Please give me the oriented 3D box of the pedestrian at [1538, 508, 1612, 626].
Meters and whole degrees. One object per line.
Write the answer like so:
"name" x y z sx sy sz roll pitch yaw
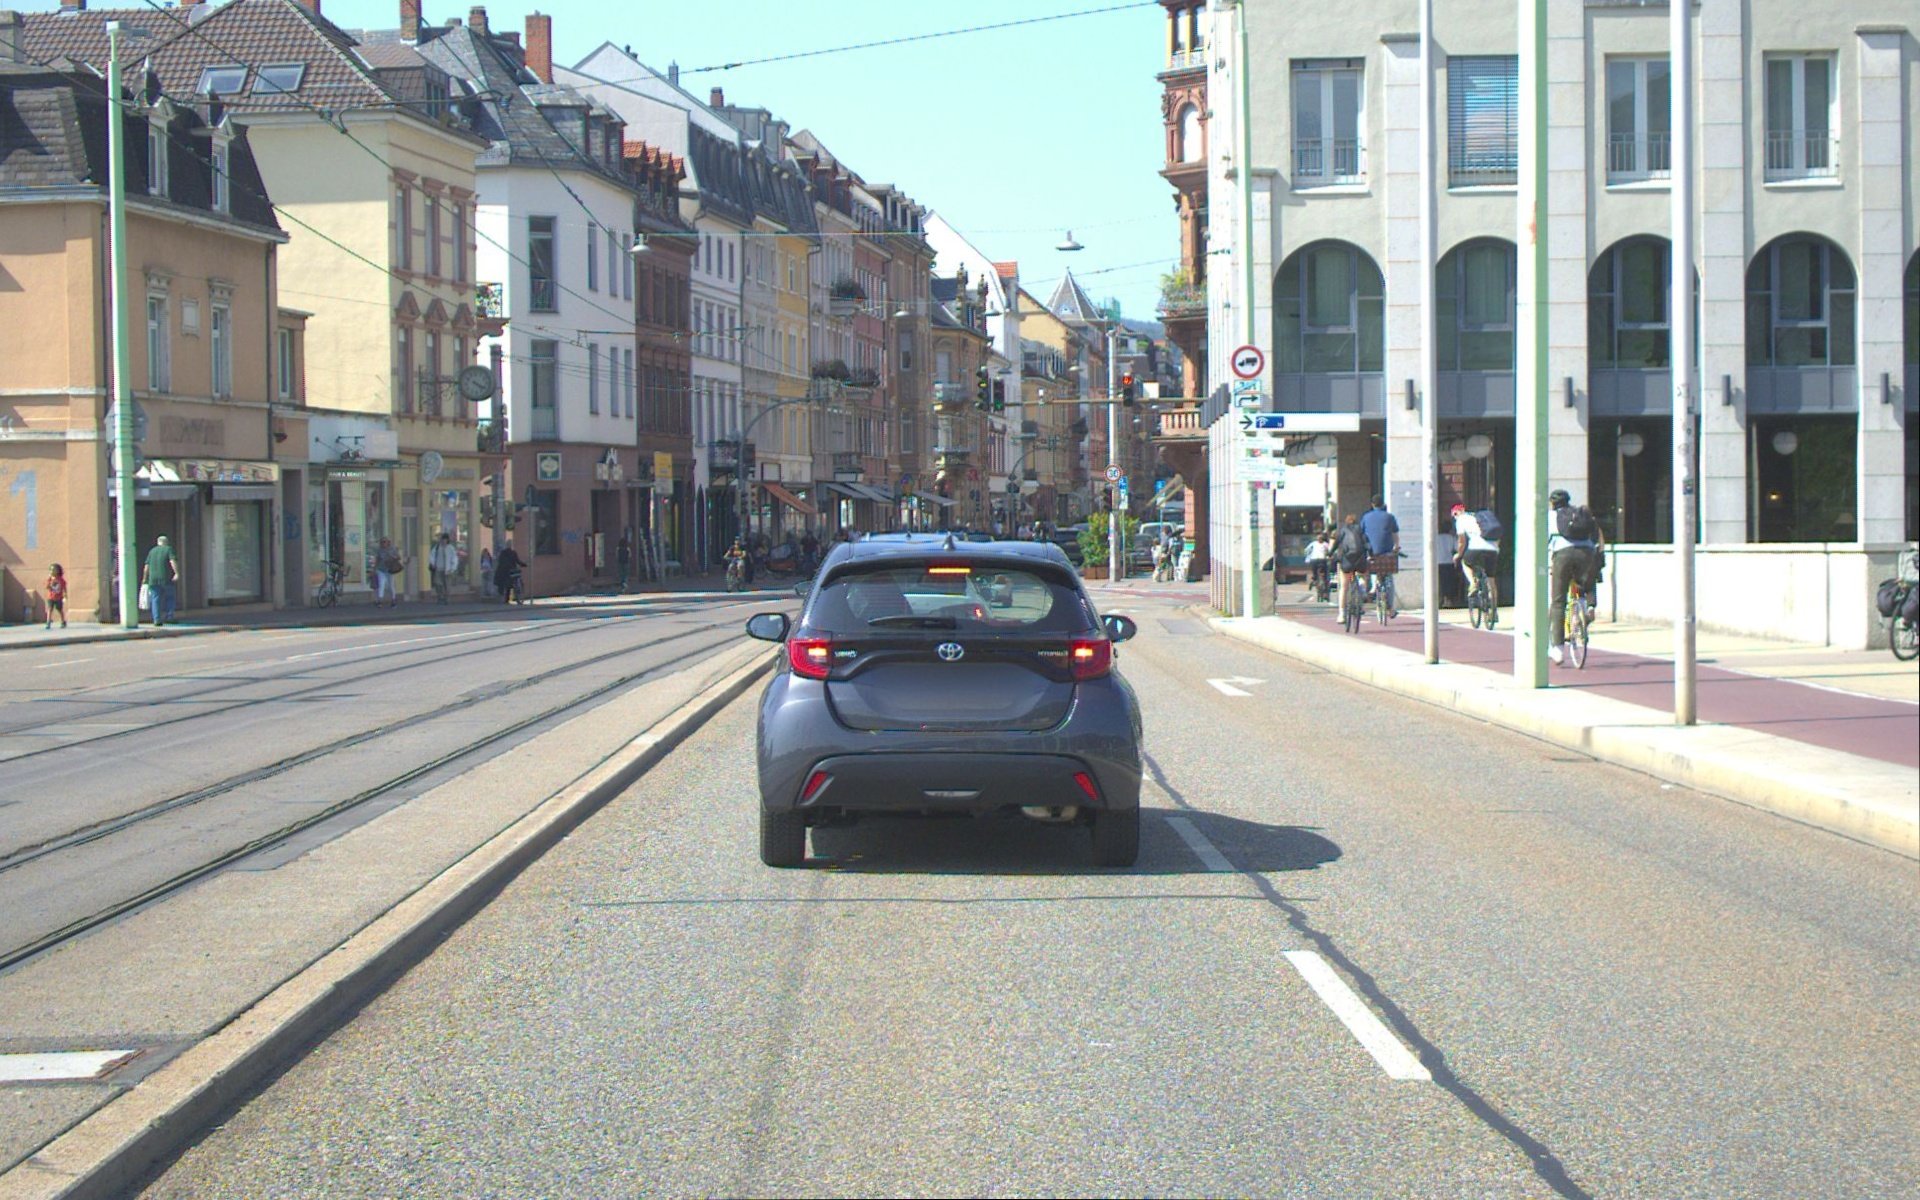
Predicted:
"pedestrian" 8.676 -0.470 48.539 0.739 1.609 1.016 4 1 -1

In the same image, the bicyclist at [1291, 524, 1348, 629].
"bicyclist" 8.931 -0.585 85.446 1.228 2.520 1.105 4 1 6

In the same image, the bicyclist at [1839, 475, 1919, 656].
"bicyclist" 9.155 -0.343 32.860 0.921 1.689 1.143 -2 1 -23

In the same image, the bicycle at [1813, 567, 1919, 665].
"bicycle" 9.159 0.137 32.867 1.821 0.879 0.800 -2 1 -23

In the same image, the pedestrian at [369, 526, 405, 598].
"pedestrian" -13.303 -0.889 79.771 0.649 1.596 0.566 4 3 0

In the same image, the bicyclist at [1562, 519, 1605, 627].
"bicyclist" 8.022 -0.350 44.222 0.422 1.378 0.443 -2 1 0

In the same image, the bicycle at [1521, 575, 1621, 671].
"bicycle" 5.978 0.218 33.693 0.704 0.879 1.525 -1 1 0

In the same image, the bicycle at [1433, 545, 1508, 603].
"bicycle" 6.962 -0.349 46.879 0.416 0.763 0.961 -3 1 -39

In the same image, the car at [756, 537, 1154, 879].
"car" -0.043 0.439 16.863 1.720 1.468 3.658 1 1 -1

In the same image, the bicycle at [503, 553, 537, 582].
"bicycle" -11.691 -0.859 91.361 0.620 0.713 1.771 4 1 0

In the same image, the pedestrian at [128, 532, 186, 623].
"pedestrian" -15.011 -0.417 64.298 0.762 1.648 0.711 4 1 6

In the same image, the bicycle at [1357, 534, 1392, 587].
"bicycle" 6.071 -0.582 50.345 0.416 0.763 0.962 -2 1 3

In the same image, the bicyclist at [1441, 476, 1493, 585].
"bicyclist" 6.916 -0.953 46.893 0.484 1.461 0.443 -3 1 -39

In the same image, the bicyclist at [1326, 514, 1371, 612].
"bicyclist" 5.311 -0.507 47.032 0.538 1.312 0.672 -2 1 4

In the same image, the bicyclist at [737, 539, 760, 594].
"bicyclist" -6.411 -1.020 104.335 0.627 1.644 0.622 1 2 0

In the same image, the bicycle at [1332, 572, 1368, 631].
"bicycle" 5.341 0.018 47.059 0.416 0.763 1.205 -2 1 4

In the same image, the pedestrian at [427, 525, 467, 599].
"pedestrian" -12.610 -0.935 84.541 0.736 1.760 0.787 4 1 0

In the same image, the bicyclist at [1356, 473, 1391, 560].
"bicyclist" 6.052 -1.223 50.317 0.422 1.252 0.443 -2 1 3

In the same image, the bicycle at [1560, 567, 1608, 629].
"bicycle" 8.027 -0.034 44.230 0.416 0.763 0.962 -2 1 0

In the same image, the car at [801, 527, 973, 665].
"car" -0.842 -0.082 40.450 1.897 1.525 4.000 1 1 -1

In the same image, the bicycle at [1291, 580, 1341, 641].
"bicycle" 8.829 0.246 85.244 1.112 1.415 3.006 4 1 6

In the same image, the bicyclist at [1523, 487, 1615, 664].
"bicyclist" 5.962 -0.247 33.677 0.701 1.689 0.924 -1 1 0

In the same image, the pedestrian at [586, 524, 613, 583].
"pedestrian" -10.976 -1.422 104.609 0.736 1.760 0.787 0 2 0

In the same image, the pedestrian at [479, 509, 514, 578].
"pedestrian" -12.356 -1.507 91.648 0.736 1.760 0.787 4 1 -1

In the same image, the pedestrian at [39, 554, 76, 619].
"pedestrian" -16.262 -0.248 61.957 0.412 1.142 0.544 4 1 7

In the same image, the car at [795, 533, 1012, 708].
"car" -0.525 0.144 32.453 1.897 1.525 4.000 1 1 -1
